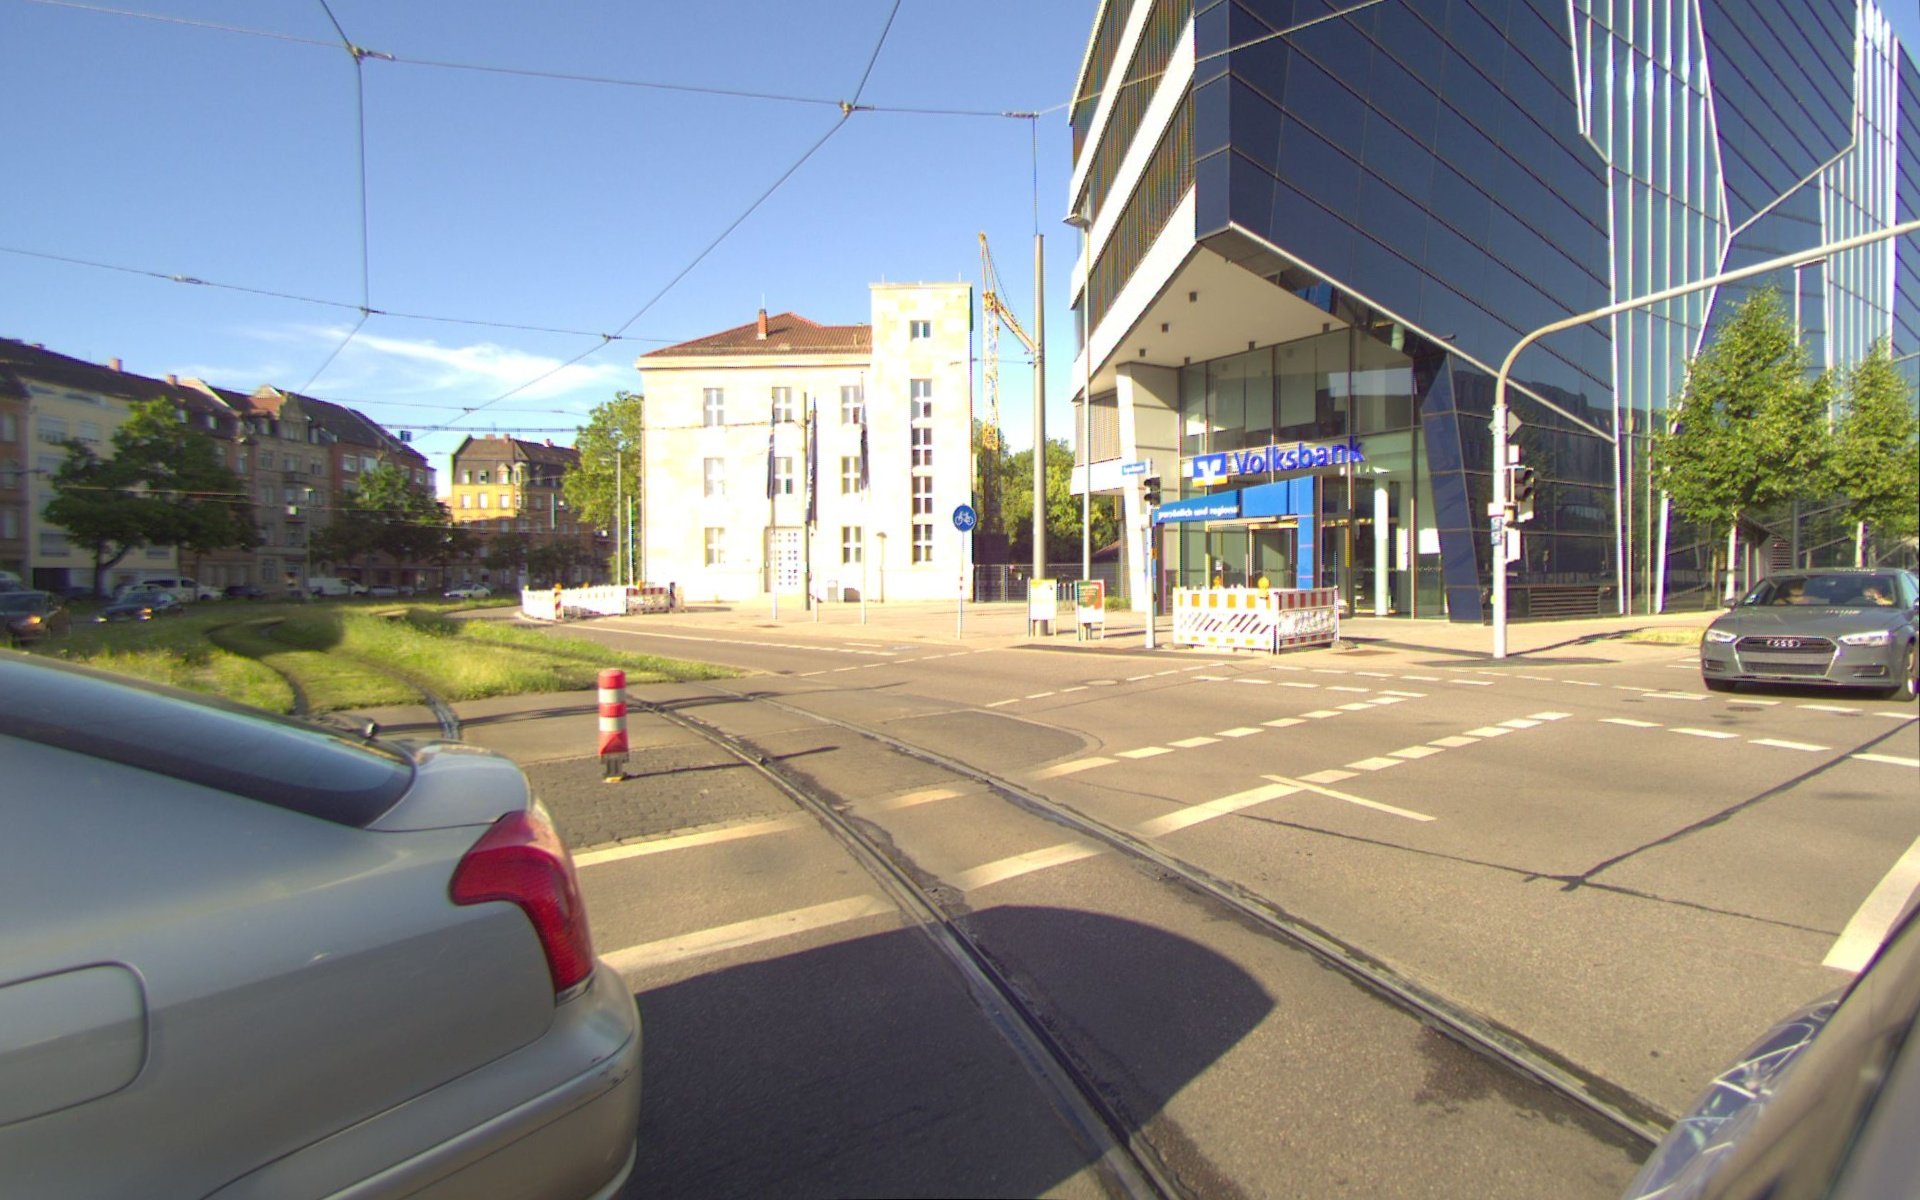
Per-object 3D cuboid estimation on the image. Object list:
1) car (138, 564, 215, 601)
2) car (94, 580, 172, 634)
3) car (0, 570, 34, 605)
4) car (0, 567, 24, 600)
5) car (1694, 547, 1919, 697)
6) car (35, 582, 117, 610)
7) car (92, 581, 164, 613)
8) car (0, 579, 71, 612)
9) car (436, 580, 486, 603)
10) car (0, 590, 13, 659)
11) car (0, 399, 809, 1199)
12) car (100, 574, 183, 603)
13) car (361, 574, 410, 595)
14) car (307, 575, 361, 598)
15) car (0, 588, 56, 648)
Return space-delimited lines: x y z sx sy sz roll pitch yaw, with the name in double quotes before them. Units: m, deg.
"car" -55.202 -1.220 71.416 3.918 2.437 2.003 3 0 -27
"car" -35.443 0.228 43.469 1.962 2.037 4.003 -4 4 -32
"car" -63.893 -0.773 66.547 1.964 2.216 4.188 -2 3 3
"car" -54.737 -0.835 56.025 3.926 1.793 2.000 -4 3 -35
"car" 10.335 0.148 11.775 4.187 1.409 1.750 -4 1 -37
"car" -63.443 -0.328 72.714 1.962 1.742 4.414 -2 3 1
"car" -64.411 -0.279 78.442 1.965 2.216 3.995 -2 3 6
"car" -55.312 -0.253 59.760 3.926 1.793 2.000 -4 3 -35
"car" -40.785 -0.724 82.791 1.963 1.727 3.998 -3 1 2
"car" -23.523 0.664 23.179 1.963 1.637 4.543 -3 3 -35
"car" -2.568 0.600 0.943 4.548 1.499 1.749 -4 2 -40
"car" -54.607 -0.782 67.623 3.918 1.794 2.003 2 0 -27
"car" -54.567 -1.493 96.147 3.922 1.793 2.002 -4 3 -31
"car" -55.256 -1.200 89.378 3.922 1.793 2.002 -4 3 -31
"car" -27.981 0.511 29.649 1.965 1.638 4.096 -3 2 -39
